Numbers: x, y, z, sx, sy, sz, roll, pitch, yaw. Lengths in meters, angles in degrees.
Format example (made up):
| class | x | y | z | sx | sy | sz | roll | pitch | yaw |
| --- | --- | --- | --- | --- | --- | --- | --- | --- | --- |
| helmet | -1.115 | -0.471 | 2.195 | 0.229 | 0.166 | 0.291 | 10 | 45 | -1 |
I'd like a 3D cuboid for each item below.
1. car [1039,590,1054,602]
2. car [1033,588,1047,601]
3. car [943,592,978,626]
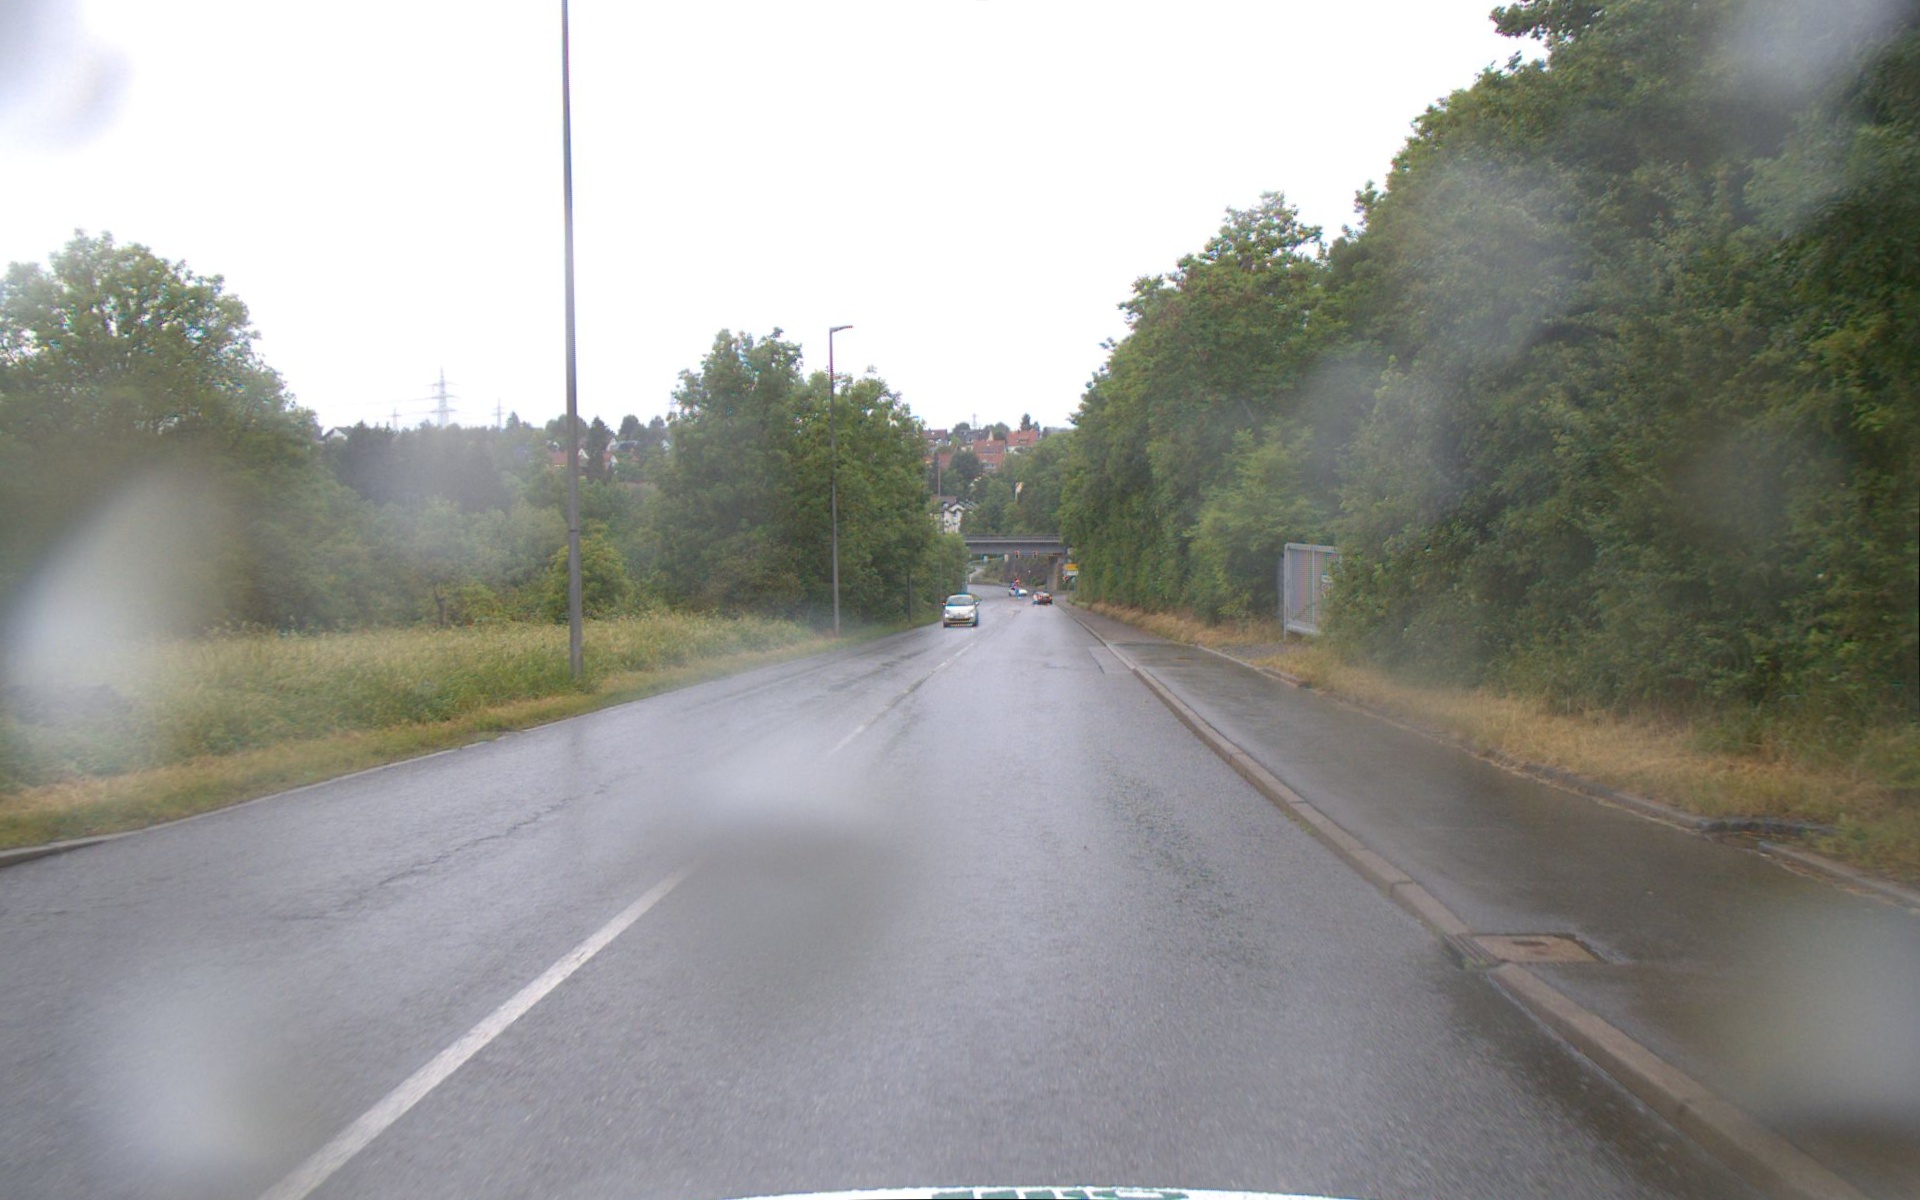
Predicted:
| class | x | y | z | sx | sy | sz | roll | pitch | yaw |
| --- | --- | --- | --- | --- | --- | --- | --- | --- | --- |
| car | 10.702 | -0.518 | 204.404 | 1.731 | 1.404 | 4.002 | -2 | 0 | 3 |
| car | 10.194 | -0.673 | 211.095 | 1.731 | 1.590 | 4.002 | -2 | 0 | 3 |
| car | 0.033 | 0.420 | 79.708 | 1.605 | 1.514 | 3.454 | -2 | 0 | 0 |
